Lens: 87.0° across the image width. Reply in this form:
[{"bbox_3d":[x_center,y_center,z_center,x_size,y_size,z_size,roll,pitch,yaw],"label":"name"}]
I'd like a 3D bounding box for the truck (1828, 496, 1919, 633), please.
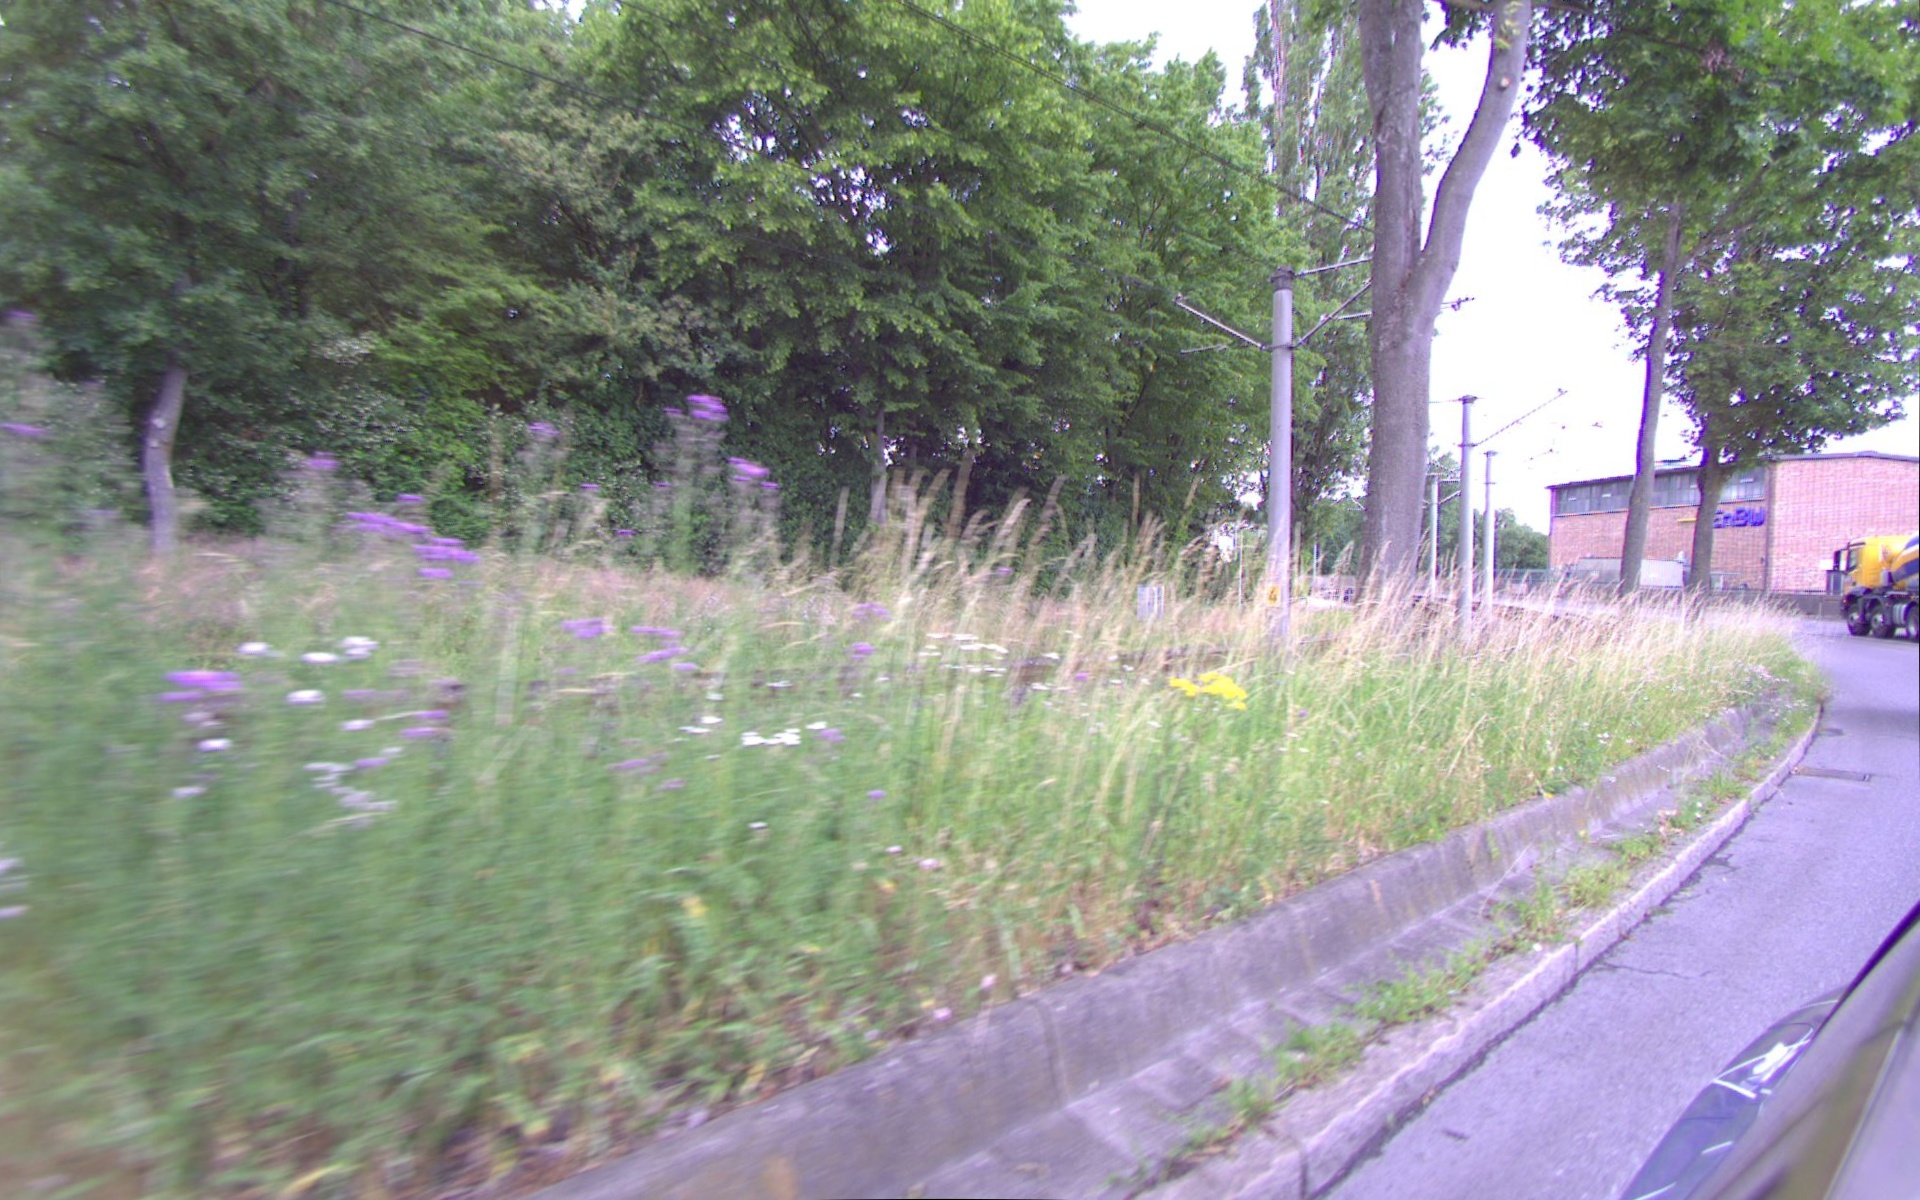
[{"bbox_3d":[29.786,-1.090,30.370,2.647,3.988,10.060,-1,0,23],"label":"truck"}]
